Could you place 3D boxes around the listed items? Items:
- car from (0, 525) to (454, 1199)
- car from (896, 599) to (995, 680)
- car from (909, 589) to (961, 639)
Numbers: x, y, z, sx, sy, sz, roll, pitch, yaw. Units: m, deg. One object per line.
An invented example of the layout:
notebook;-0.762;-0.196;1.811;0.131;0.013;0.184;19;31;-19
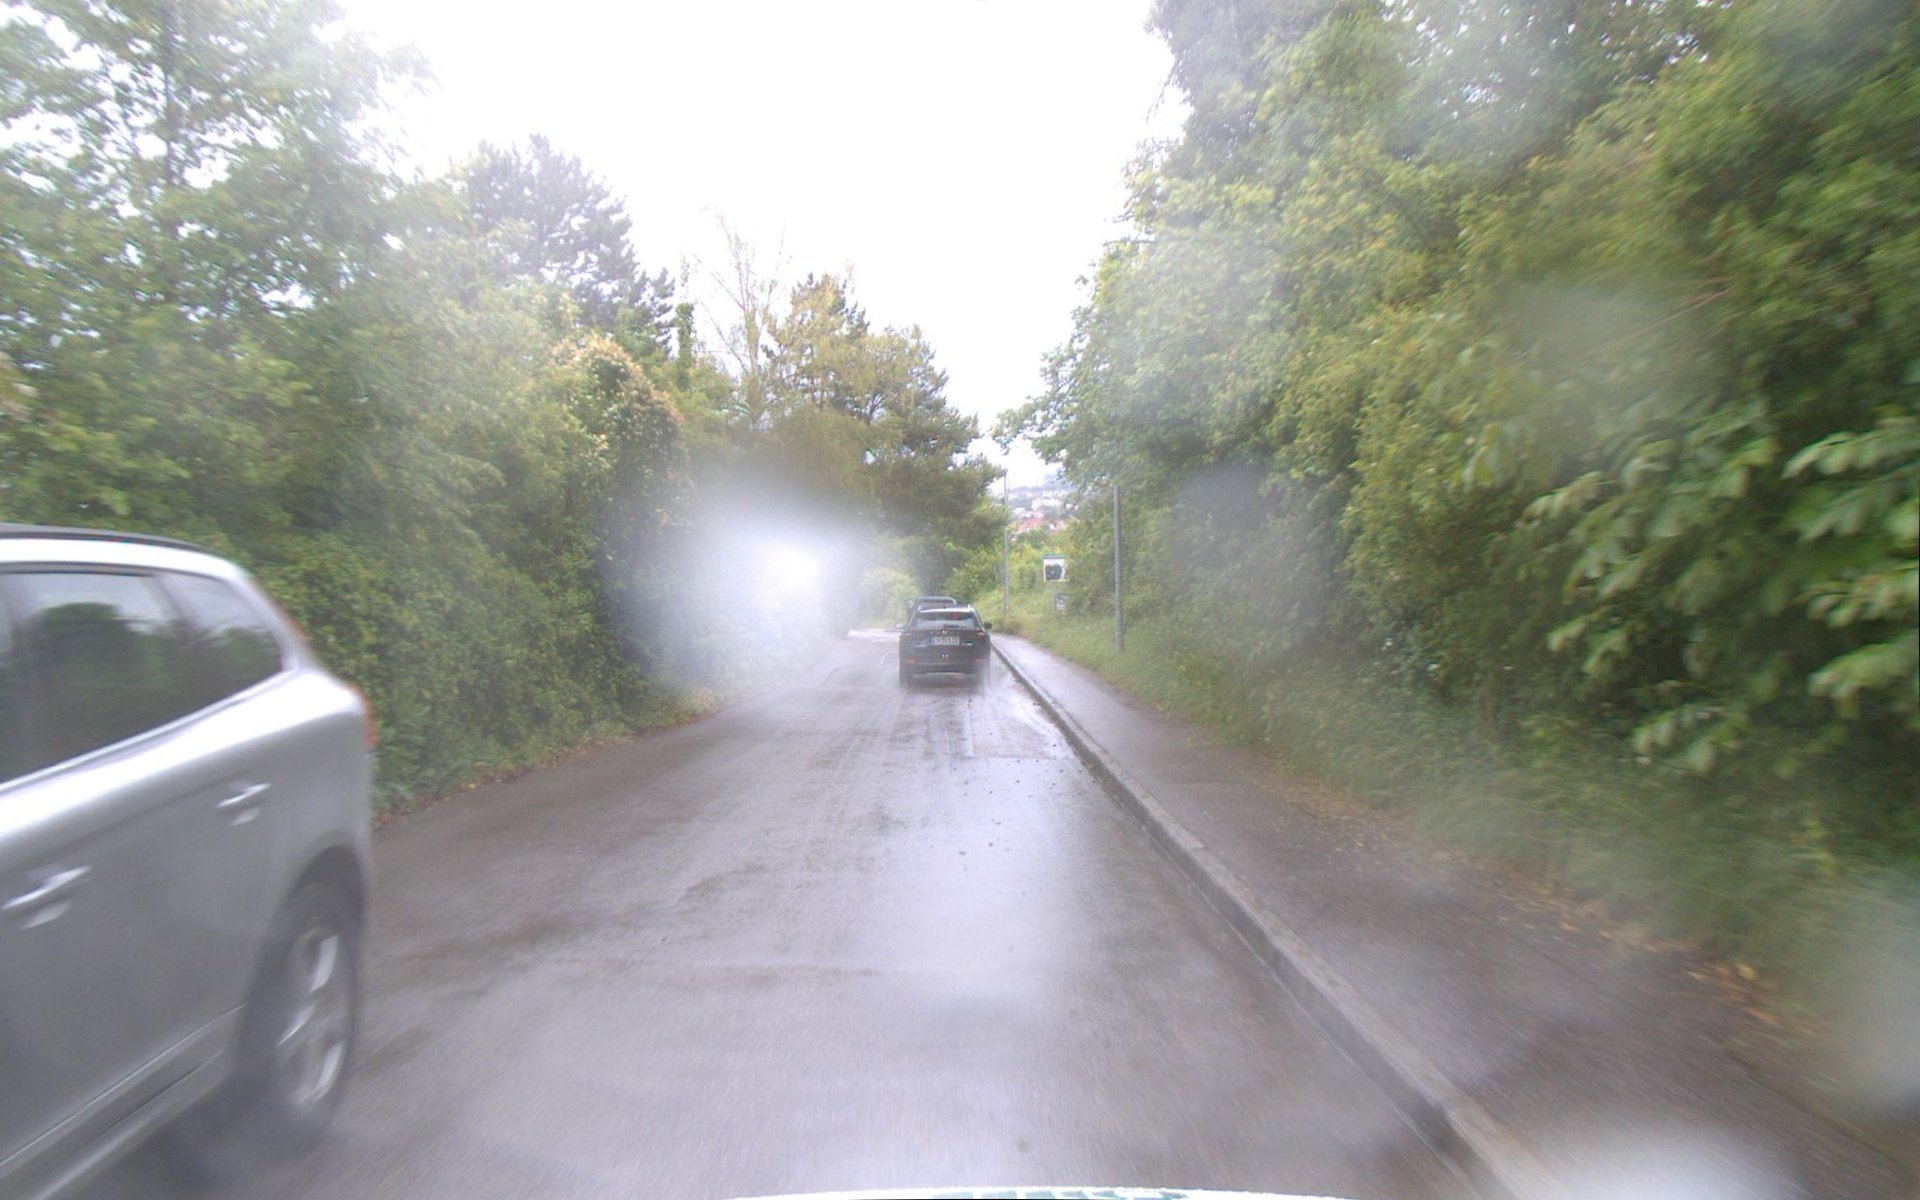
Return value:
car;-2.530;0.684;3.038;1.883;1.649;4.461;1;0;-1
car;-0.322;0.806;32.191;1.798;1.490;3.998;0;-3;-2
car;-0.850;0.468;55.464;1.644;1.592;3.793;1;0;-1
